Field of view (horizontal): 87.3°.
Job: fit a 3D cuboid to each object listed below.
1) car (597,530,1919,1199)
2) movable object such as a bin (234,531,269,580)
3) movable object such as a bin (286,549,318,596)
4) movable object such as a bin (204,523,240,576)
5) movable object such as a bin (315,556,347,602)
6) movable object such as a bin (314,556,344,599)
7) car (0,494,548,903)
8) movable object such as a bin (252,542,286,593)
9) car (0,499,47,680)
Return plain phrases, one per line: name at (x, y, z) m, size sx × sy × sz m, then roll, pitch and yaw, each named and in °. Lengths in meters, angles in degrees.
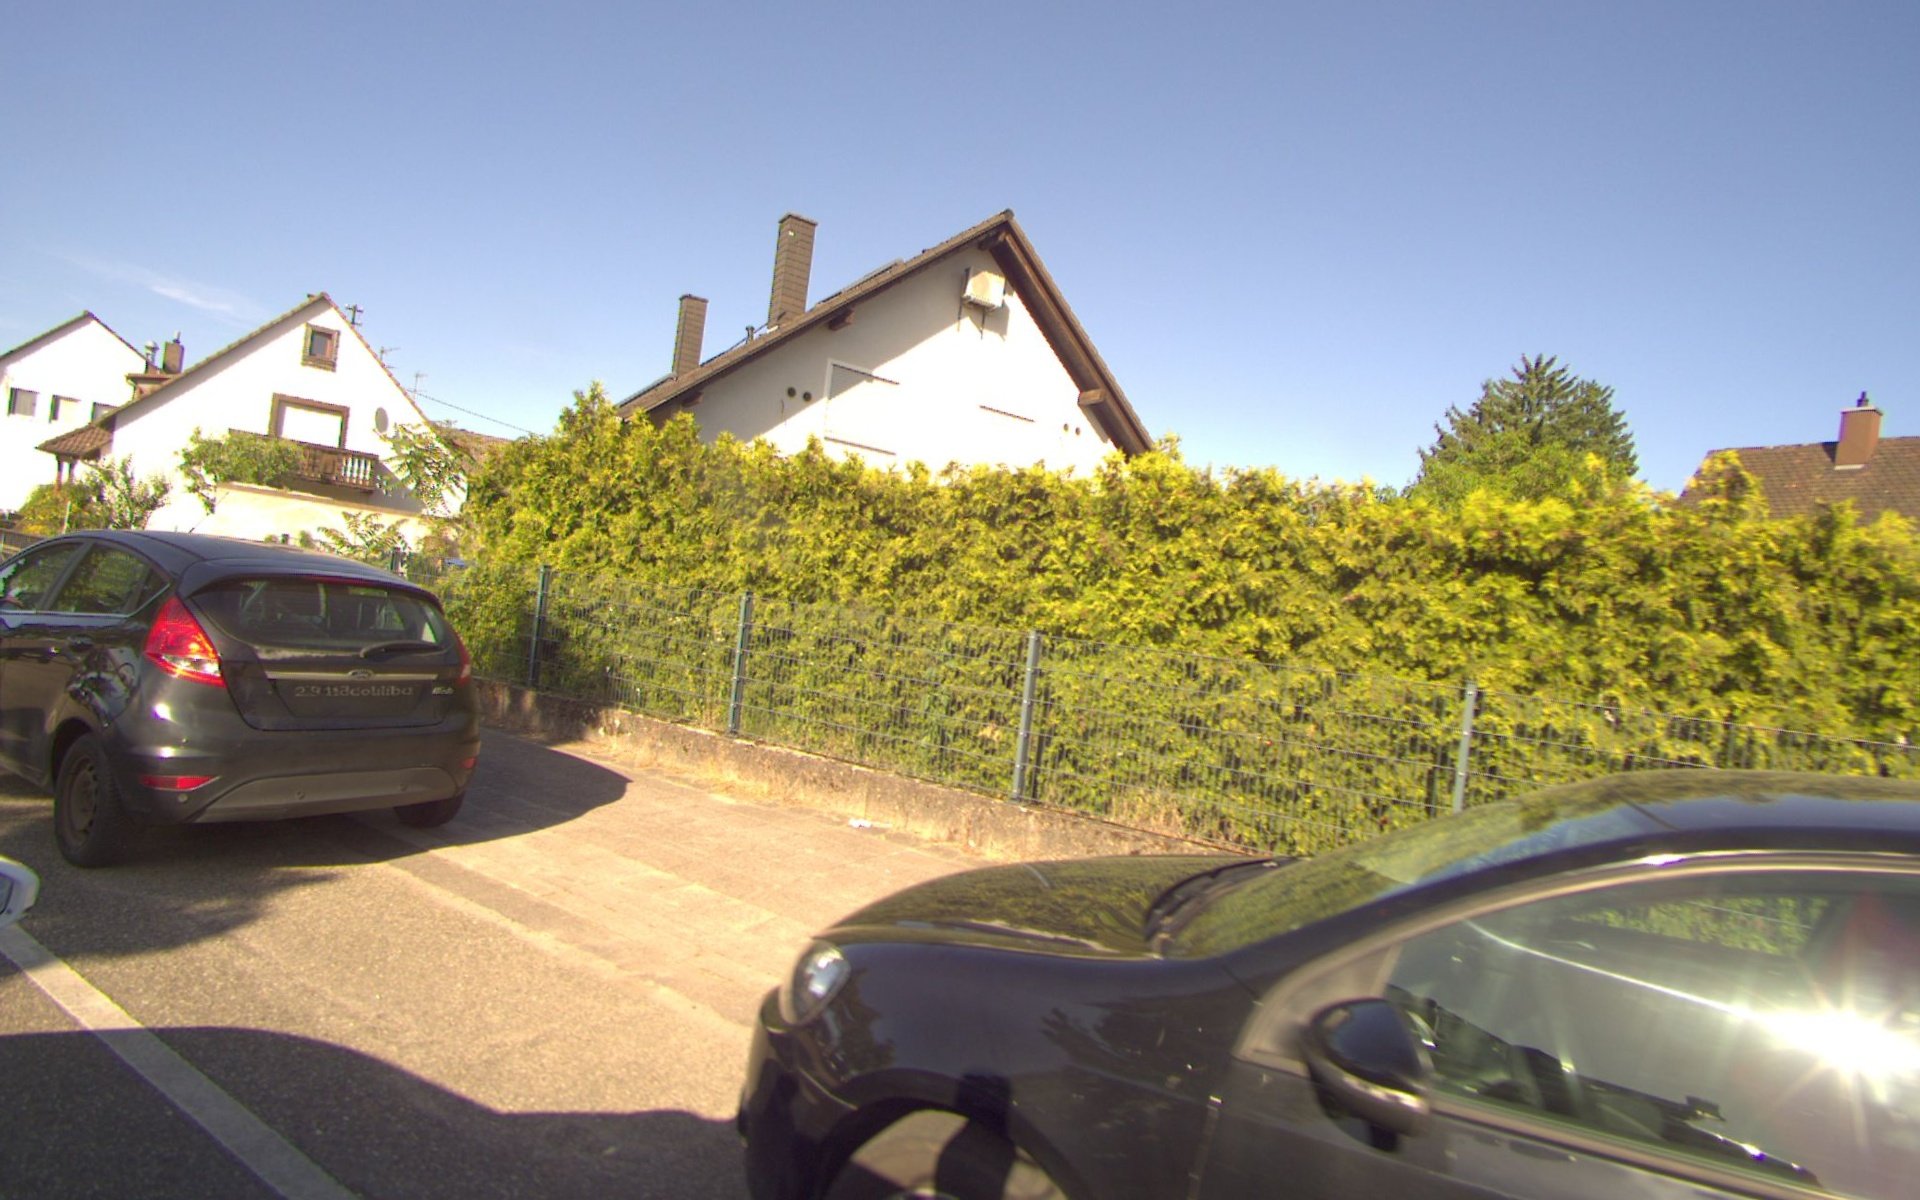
car at (1.346, 0.964, 1.957) m, size 3.752 × 1.678 × 1.780 m, roll 7°, pitch -1°, yaw 30°
movable object such as a bin at (-16.144, -1.007, 22.935) m, size 0.499 × 1.038 × 0.454 m, roll 7°, pitch 0°, yaw -31°
movable object such as a bin at (-15.308, -0.636, 23.419) m, size 0.499 × 1.011 × 0.454 m, roll 7°, pitch 0°, yaw -31°
movable object such as a bin at (-16.587, -1.125, 22.617) m, size 0.499 × 1.109 × 0.454 m, roll 7°, pitch 0°, yaw -31°
movable object such as a bin at (-14.486, -0.487, 23.170) m, size 0.499 × 0.976 × 0.454 m, roll 7°, pitch 0°, yaw -31°
movable object such as a bin at (-14.846, -0.535, 23.677) m, size 0.499 × 0.923 × 0.454 m, roll 7°, pitch 0°, yaw -31°
car at (-4.380, 0.321, 5.665) m, size 3.841 × 1.522 × 1.722 m, roll 7°, pitch -2°, yaw 31°
movable object such as a bin at (-15.890, -0.748, 23.137) m, size 0.499 × 1.091 × 0.454 m, roll 7°, pitch 0°, yaw -31°
car at (-9.938, -0.319, 8.937) m, size 3.505 × 1.522 × 1.722 m, roll 7°, pitch -2°, yaw 32°
